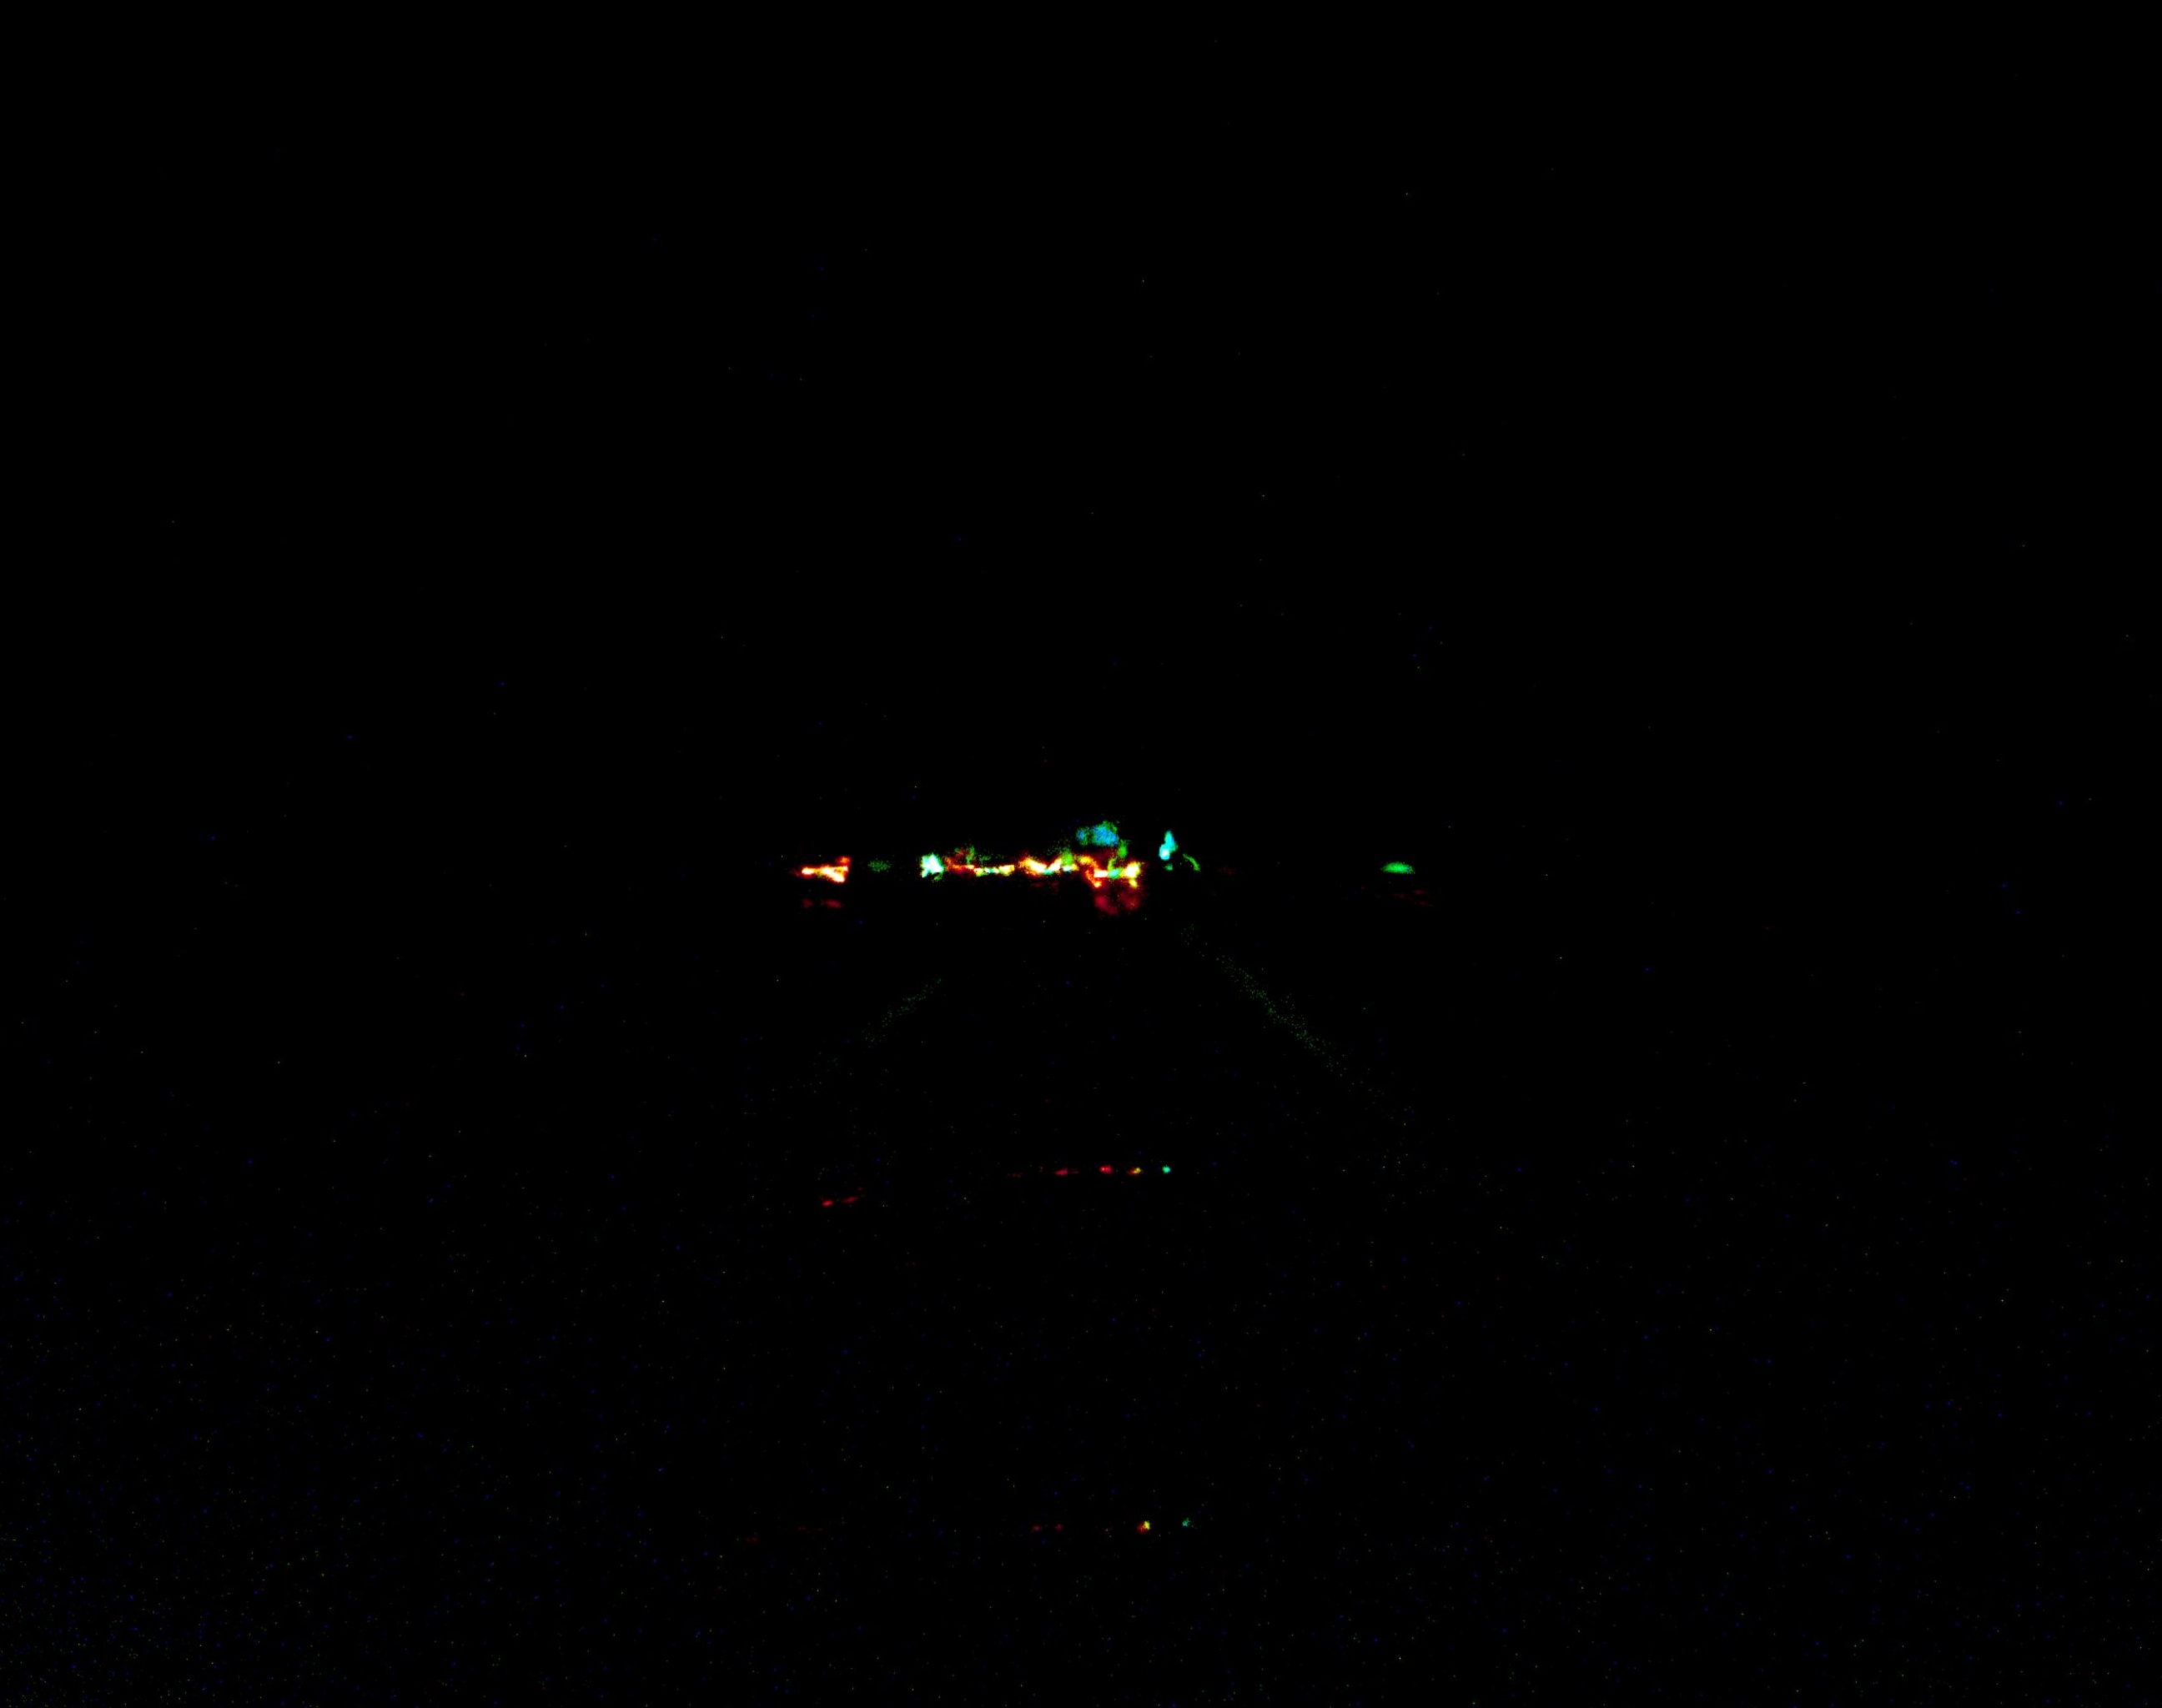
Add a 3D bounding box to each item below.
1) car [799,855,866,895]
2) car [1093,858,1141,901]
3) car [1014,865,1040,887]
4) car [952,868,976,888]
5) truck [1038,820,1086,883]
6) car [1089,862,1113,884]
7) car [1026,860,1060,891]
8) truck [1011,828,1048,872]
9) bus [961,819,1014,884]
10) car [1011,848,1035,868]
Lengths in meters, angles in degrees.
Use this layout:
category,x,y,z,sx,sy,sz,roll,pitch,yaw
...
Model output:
category,x,y,z,sx,sy,sz,roll,pitch,yaw
car,-10.677,0.880,35.309,1.990,1.596,3.992,0,-1,-5
car,1.572,1.101,36.207,1.986,1.807,4.001,0,-1,1
car,-4.462,1.808,67.957,1.988,1.807,3.997,0,-1,-2
car,-10.036,2.041,70.248,1.690,1.650,3.836,0,-1,-3
truck,-1.692,-0.182,79.325,4.196,5.648,11.468,0,-1,1
car,1.859,1.774,77.985,2.120,2.014,4.643,0,-1,-1
car,-2.492,1.401,54.667,2.120,2.014,4.643,0,-1,-1
truck,-6.816,-0.425,109.864,4.196,5.648,11.468,0,-1,1
bus,-6.990,-0.124,62.338,3.089,4.508,10.903,0,-1,-2
car,-5.333,0.412,75.502,1.988,1.807,3.997,0,-1,-2
